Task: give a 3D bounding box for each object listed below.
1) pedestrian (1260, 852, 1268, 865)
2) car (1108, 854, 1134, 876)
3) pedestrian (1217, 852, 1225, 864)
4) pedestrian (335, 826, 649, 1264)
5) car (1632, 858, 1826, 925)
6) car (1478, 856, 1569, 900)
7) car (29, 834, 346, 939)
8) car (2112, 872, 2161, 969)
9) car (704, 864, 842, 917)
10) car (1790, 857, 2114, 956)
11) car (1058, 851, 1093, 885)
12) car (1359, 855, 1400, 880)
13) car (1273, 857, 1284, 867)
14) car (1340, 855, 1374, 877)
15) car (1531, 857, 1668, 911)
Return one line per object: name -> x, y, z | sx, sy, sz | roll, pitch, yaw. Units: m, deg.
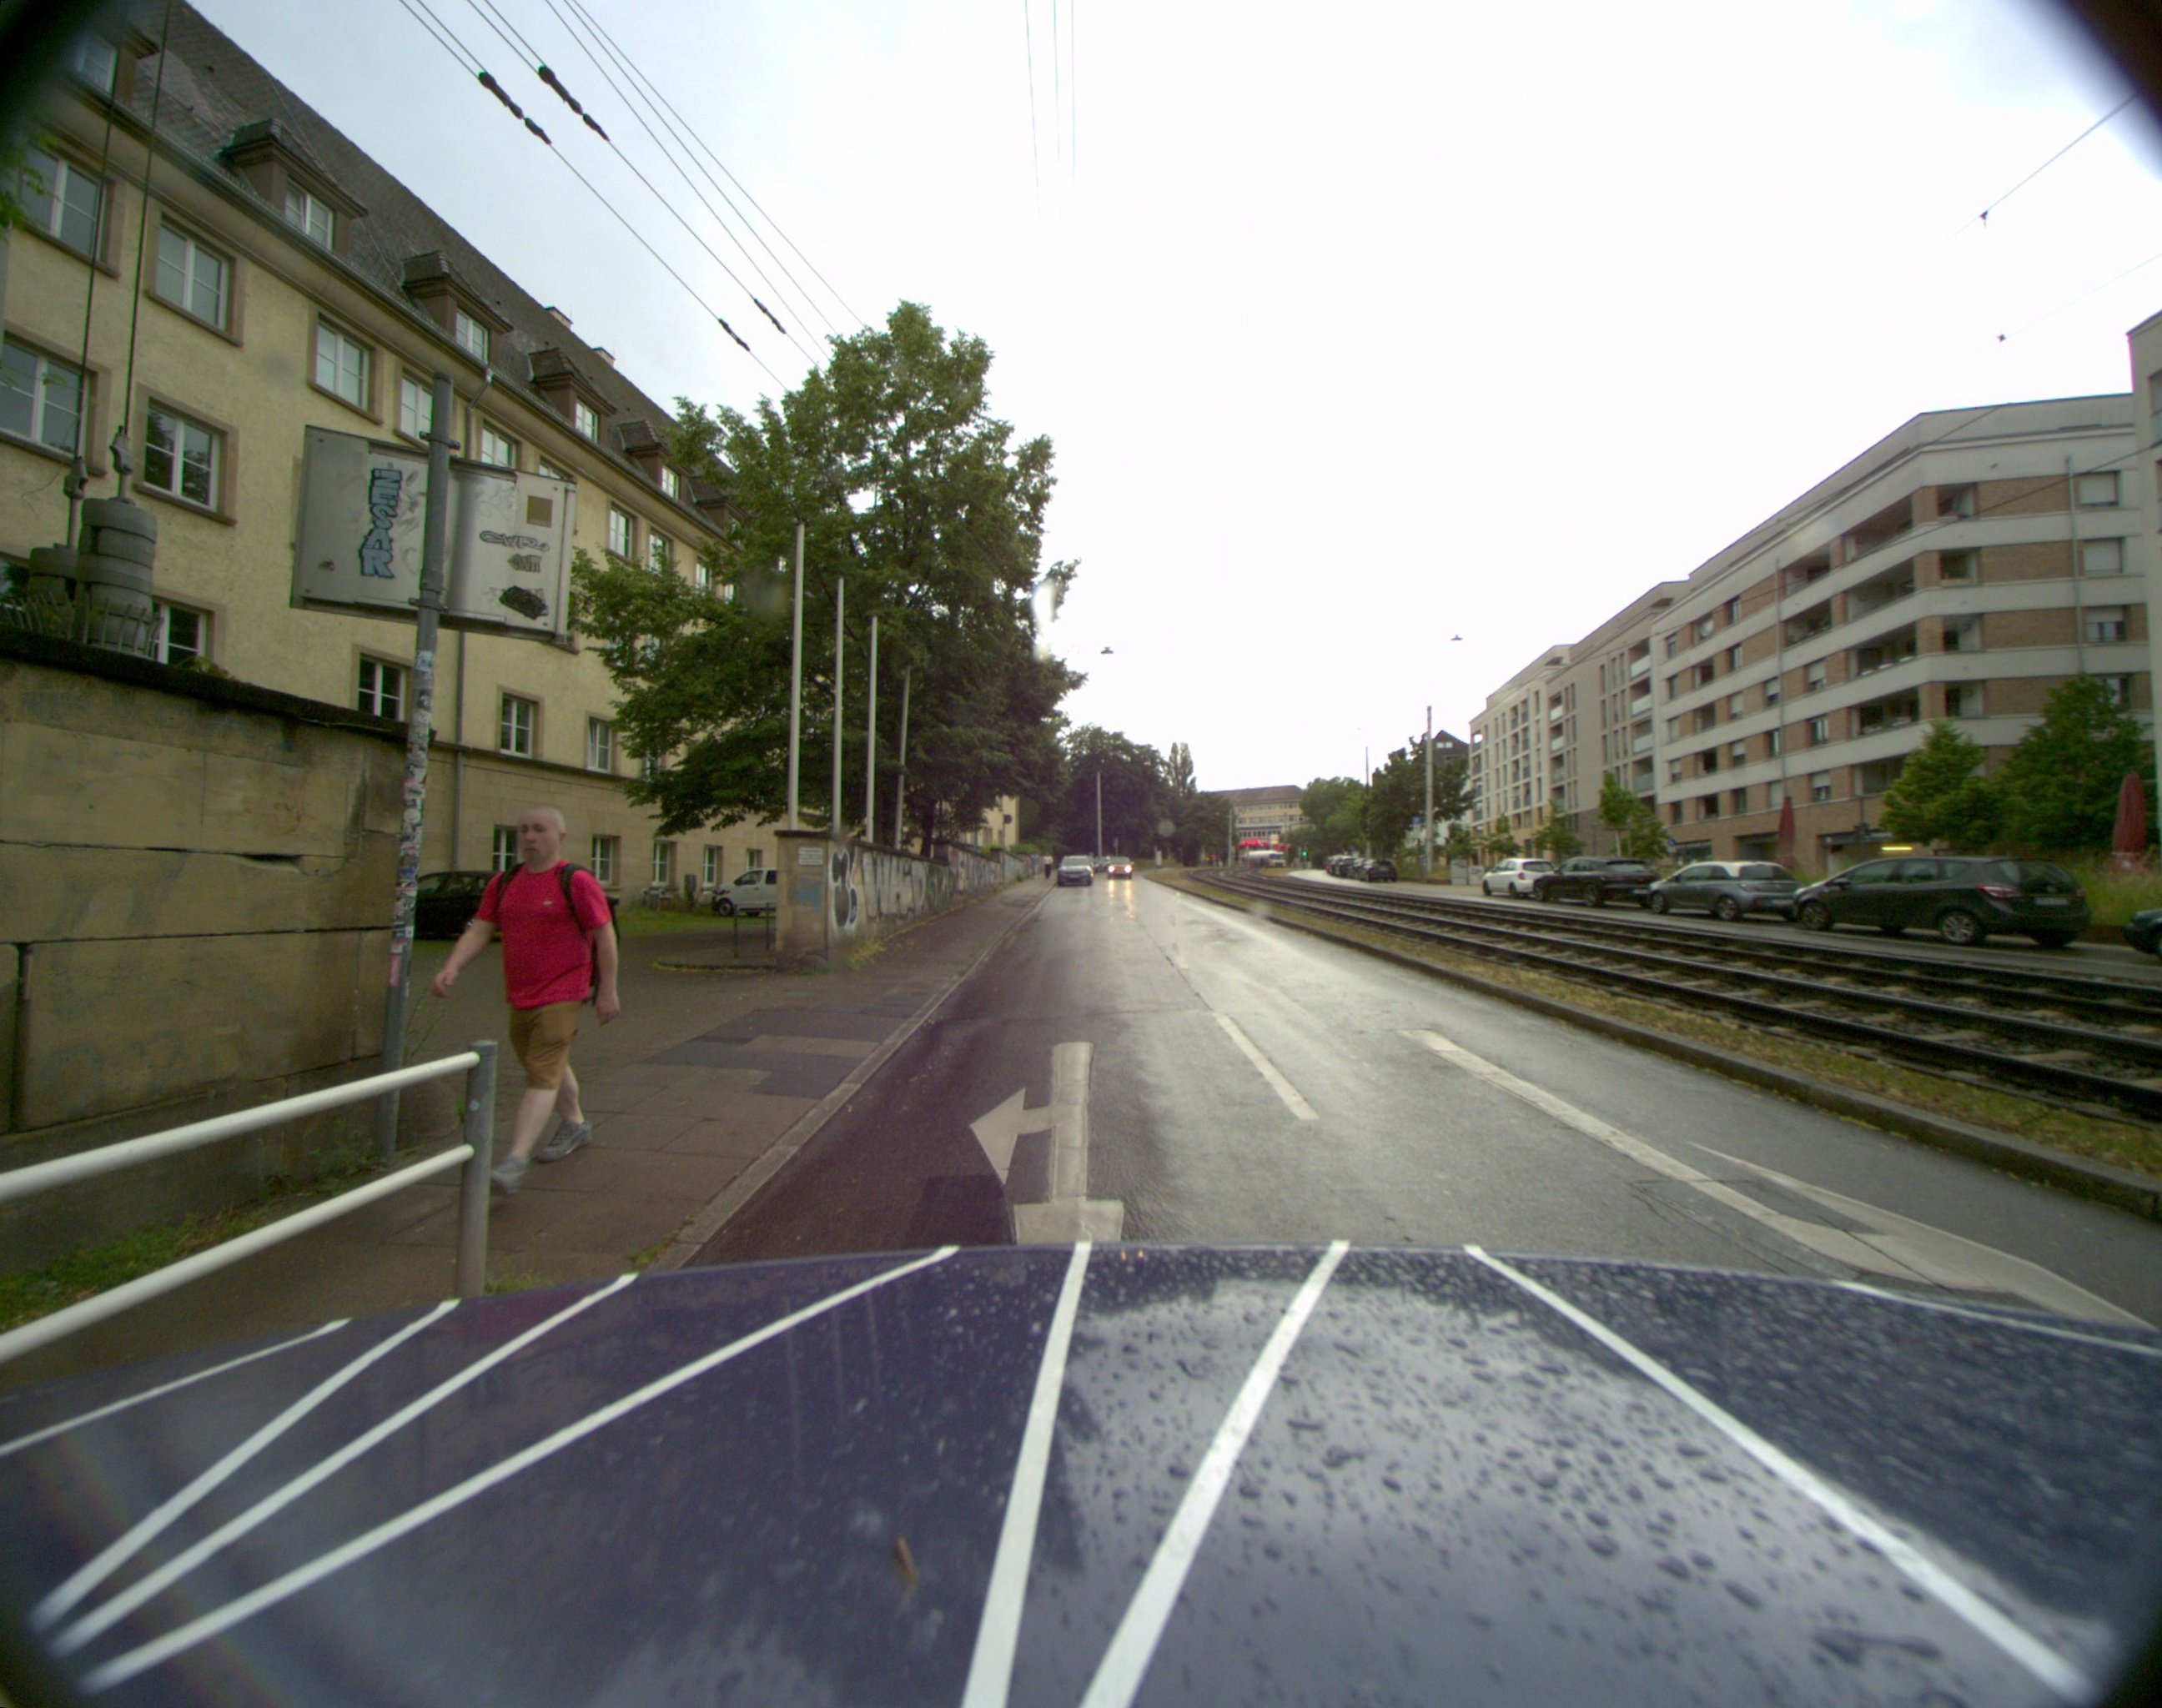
pedestrian -> 26.996, 0.657, 111.917 | 0.819, 1.754, 0.747 | 2, 0, -22
car -> 2.727, 0.718, 52.217 | 1.594, 1.455, 3.669 | 0, 1, 0
pedestrian -> 20.748, 0.592, 112.636 | 0.816, 1.754, 0.751 | 2, 0, 40
pedestrian -> -2.621, 0.777, 3.488 | 0.748, 1.754, 0.818 | 2, 0, 0
car -> 16.551, 0.884, 19.702 | 1.684, 1.496, 3.928 | -1, 0, 0
car -> 17.083, 0.878, 29.538 | 1.649, 1.496, 3.782 | -1, 0, 6
car -> -14.322, 0.503, 12.247 | 3.909, 1.461, 1.614 | -2, 1, 13
car -> 16.367, 0.961, 9.429 | 1.684, 1.372, 4.032 | -1, 0, 0
car -> -11.658, 1.373, 28.856 | 4.526, 1.769, 1.824 | -2, 1, 11
car -> 16.206, 0.875, 14.498 | 1.684, 1.554, 3.928 | -1, 0, 0
car -> -0.291, 0.715, 40.924 | 1.726, 1.676, 3.866 | -3, 1, 0
car -> 19.051, 0.841, 48.565 | 1.653, 1.455, 3.672 | -2, 1, 9
car -> 34.625, 1.342, 133.019 | 1.666, 1.597, 3.812 | -2, 1, 15
car -> 20.513, 0.855, 56.546 | 1.653, 1.455, 3.672 | -2, 1, 9
car -> 16.567, 0.889, 24.571 | 1.683, 1.496, 4.406 | -1, 0, 5
